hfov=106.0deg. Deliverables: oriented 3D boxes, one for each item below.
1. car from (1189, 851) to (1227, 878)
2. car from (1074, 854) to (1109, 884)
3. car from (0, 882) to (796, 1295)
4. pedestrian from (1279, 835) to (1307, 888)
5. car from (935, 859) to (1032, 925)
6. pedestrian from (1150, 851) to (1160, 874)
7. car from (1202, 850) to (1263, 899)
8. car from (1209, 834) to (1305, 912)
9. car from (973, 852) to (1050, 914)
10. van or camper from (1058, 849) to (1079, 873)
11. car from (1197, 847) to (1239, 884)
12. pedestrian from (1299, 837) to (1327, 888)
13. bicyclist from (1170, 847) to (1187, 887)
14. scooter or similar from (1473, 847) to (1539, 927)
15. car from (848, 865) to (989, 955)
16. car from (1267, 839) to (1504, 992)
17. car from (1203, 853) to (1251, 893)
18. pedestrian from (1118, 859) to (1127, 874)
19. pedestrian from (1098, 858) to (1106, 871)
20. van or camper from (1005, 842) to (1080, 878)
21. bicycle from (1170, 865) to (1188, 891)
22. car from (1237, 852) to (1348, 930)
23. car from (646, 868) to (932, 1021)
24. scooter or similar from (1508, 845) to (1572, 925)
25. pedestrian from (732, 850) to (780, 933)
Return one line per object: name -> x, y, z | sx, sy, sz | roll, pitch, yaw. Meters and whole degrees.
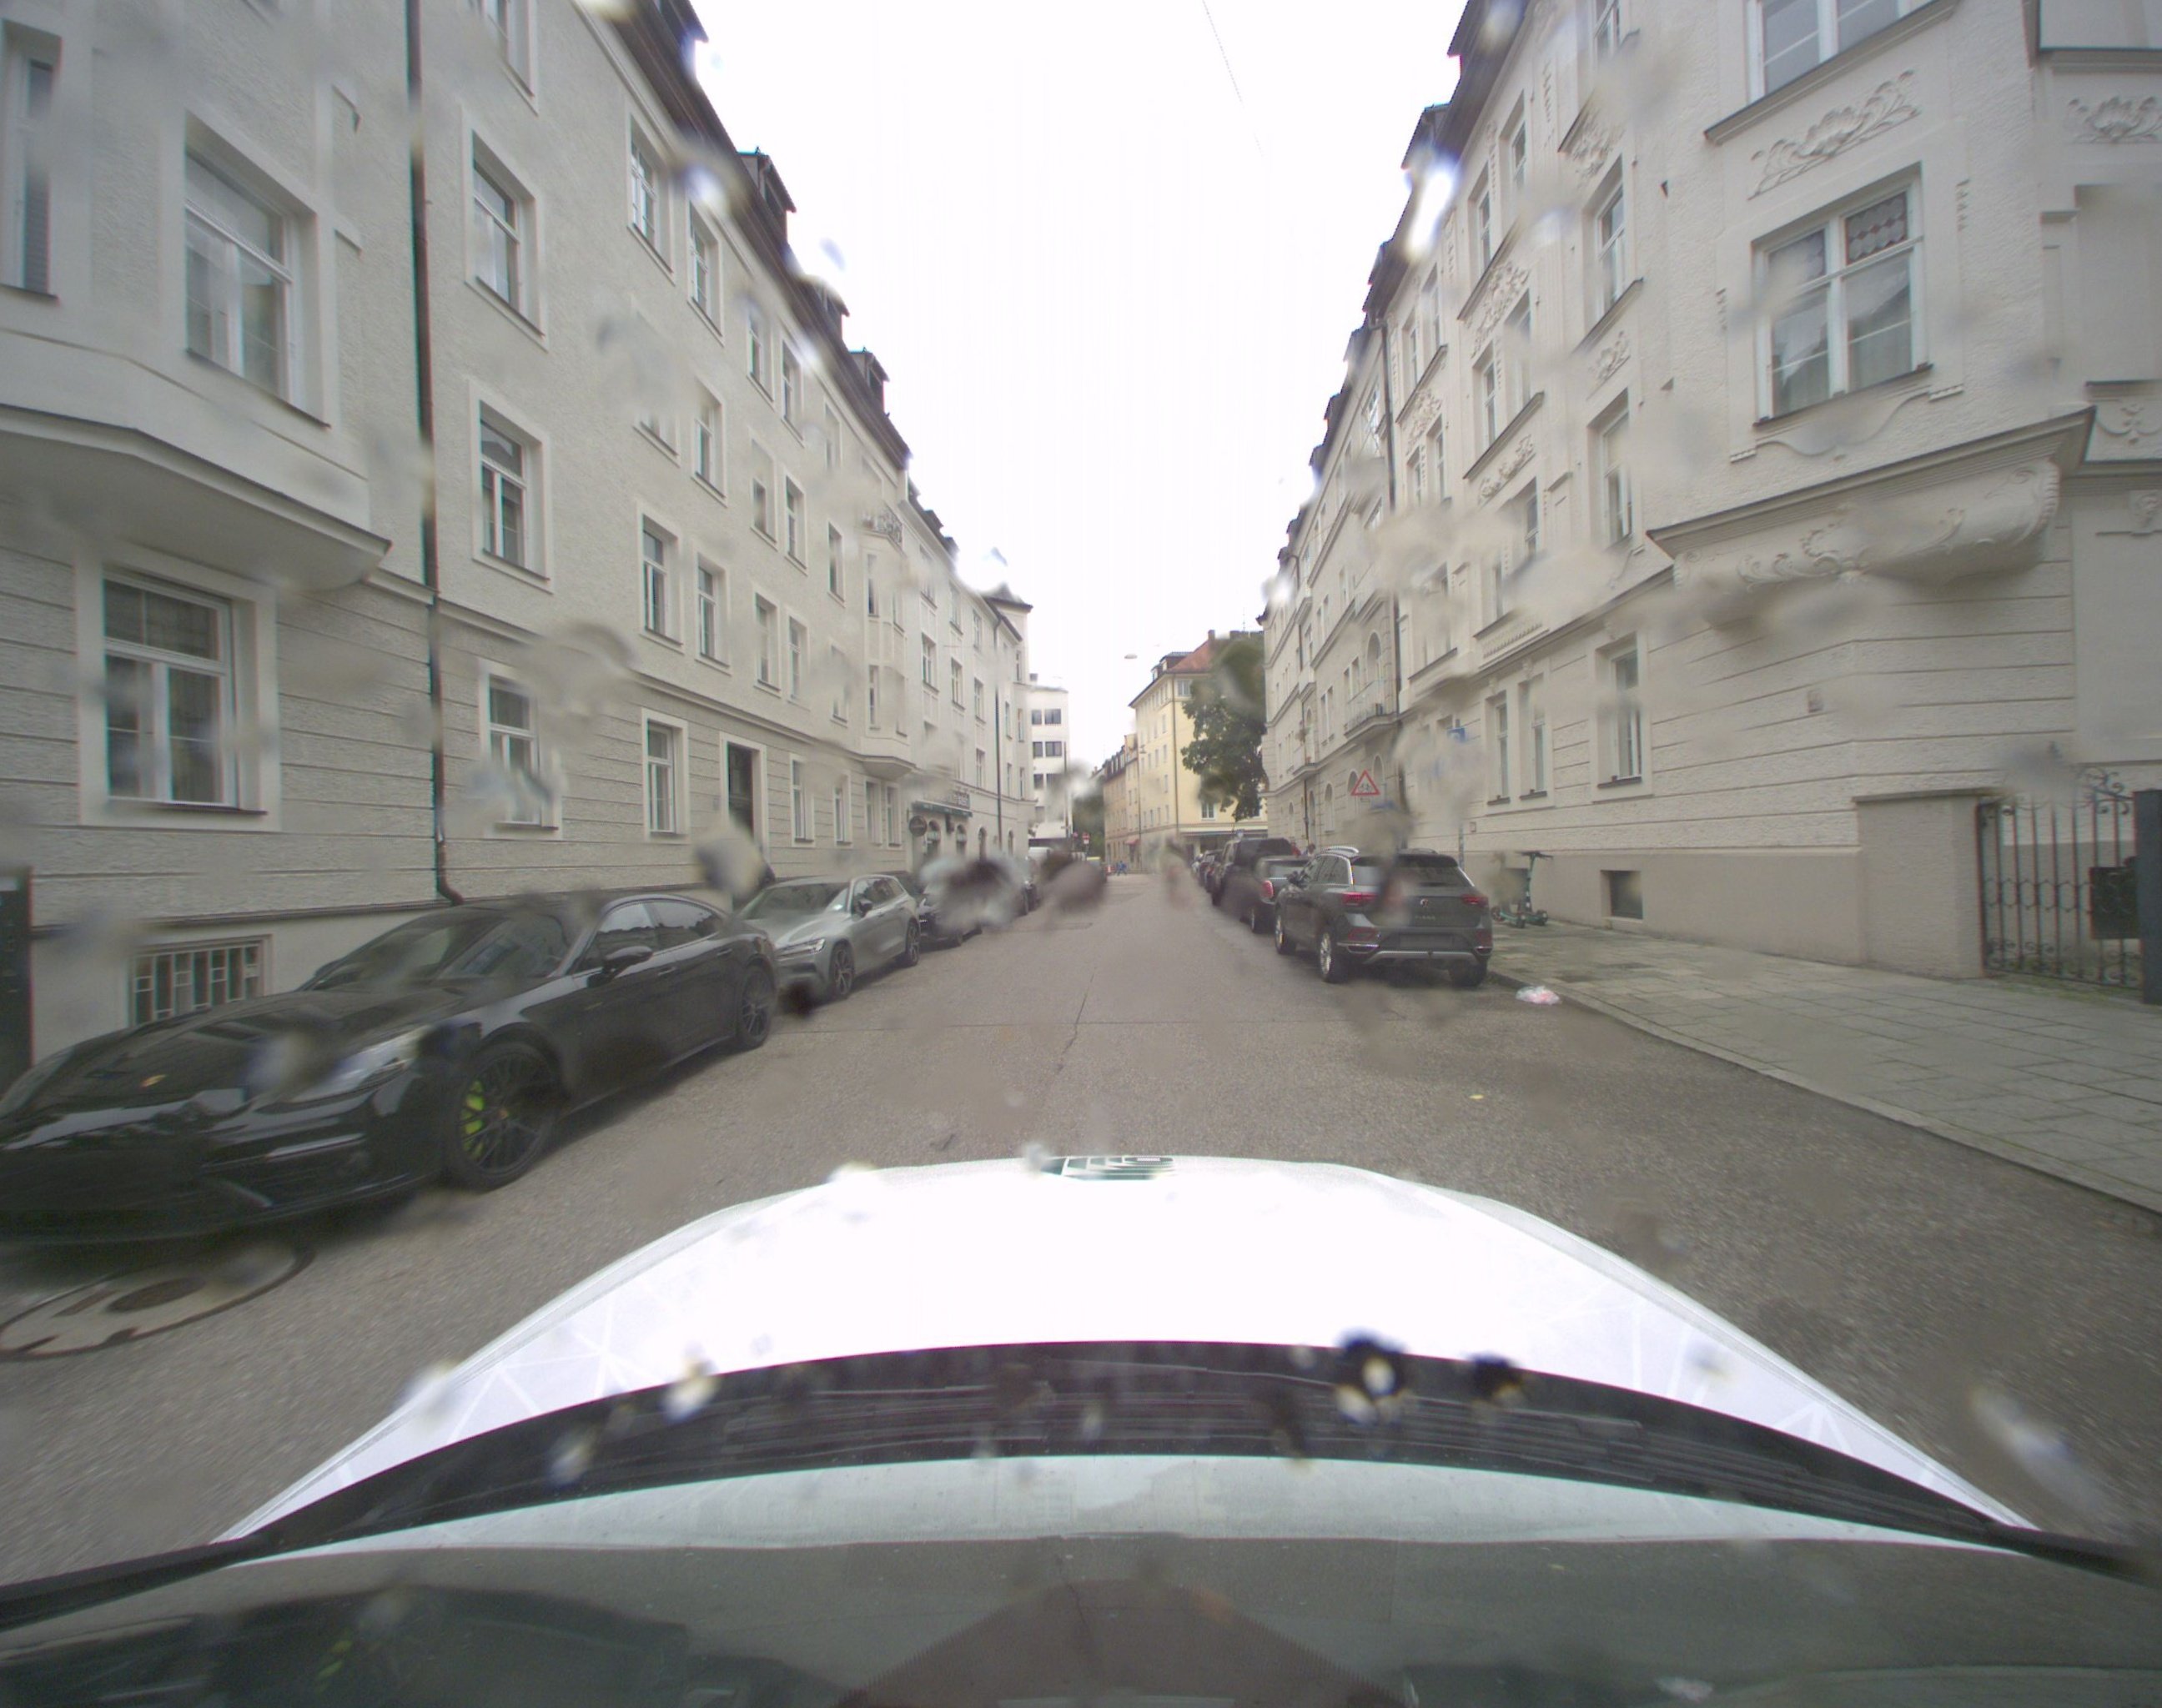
car -> 7.655, 0.605, 49.492 | 1.744, 1.496, 3.911 | -2, 0, 1
car -> 0.696, 0.881, 49.518 | 1.668, 1.597, 3.951 | -4, -1, 6
car -> -3.749, 0.982, 5.449 | 1.843, 1.367, 4.704 | -2, 0, 2
pedestrian -> 7.124, 0.253, 27.388 | 0.700, 1.728, 0.703 | -3, 0, 1
car -> -2.421, 0.907, 21.295 | 1.734, 1.487, 4.185 | -2, 0, 4
pedestrian -> 5.274, 0.592, 58.040 | 0.607, 1.661, 0.552 | -2, 0, 8
car -> 5.126, 0.659, 27.888 | 1.647, 1.525, 3.641 | -1, 0, 4
car -> 4.606, 0.457, 21.970 | 1.902, 1.885, 4.719 | 0, 0, 4
car -> -2.126, 0.852, 26.045 | 1.739, 1.673, 4.279 | -5, 0, 3
van or camper -> -1.506, 0.800, 94.226 | 1.991, 2.540, 4.750 | -2, 0, -6
car -> 6.506, 0.531, 38.933 | 1.768, 1.636, 4.384 | -1, 0, 7
pedestrian -> 7.916, 0.292, 27.839 | 0.677, 1.674, 0.654 | -4, 0, 1
bicyclist -> 4.037, 0.513, 33.679 | 0.602, 1.606, 0.759 | -2, 0, 9
scooter or similar -> 7.328, 0.535, 14.094 | 0.536, 1.287, 1.508 | -4, -1, 12
car -> -3.064, 0.999, 16.290 | 1.804, 1.385, 4.443 | -4, 0, 0
car -> 3.625, 0.635, 10.494 | 1.700, 1.588, 4.002 | -1, 0, 2
car -> 5.963, 0.742, 33.667 | 1.697, 1.471, 4.210 | -2, 0, 8
pedestrian -> 3.605, 1.083, 70.884 | 0.695, 1.270, 0.652 | -3, 0, 8
pedestrian -> 2.812, 1.394, 110.400 | 0.877, 1.778, 0.771 | -2, -1, -7
van or camper -> -3.112, 0.494, 66.160 | 5.893, 2.677, 1.870 | -2, -2, -4
bicycle -> 4.052, 0.988, 33.642 | 0.635, 1.004, 1.578 | -2, 0, 9
car -> 4.132, 0.673, 16.377 | 1.655, 1.395, 3.588 | 0, 0, 6
car -> -3.501, 0.996, 10.823 | 1.786, 1.419, 4.515 | -5, -1, 4
scooter or similar -> 7.847, 0.506, 13.975 | 0.503, 1.287, 1.356 | -4, -1, 12
pedestrian -> -6.903, 0.776, 17.323 | 0.695, 1.707, 0.665 | -2, 0, 1
